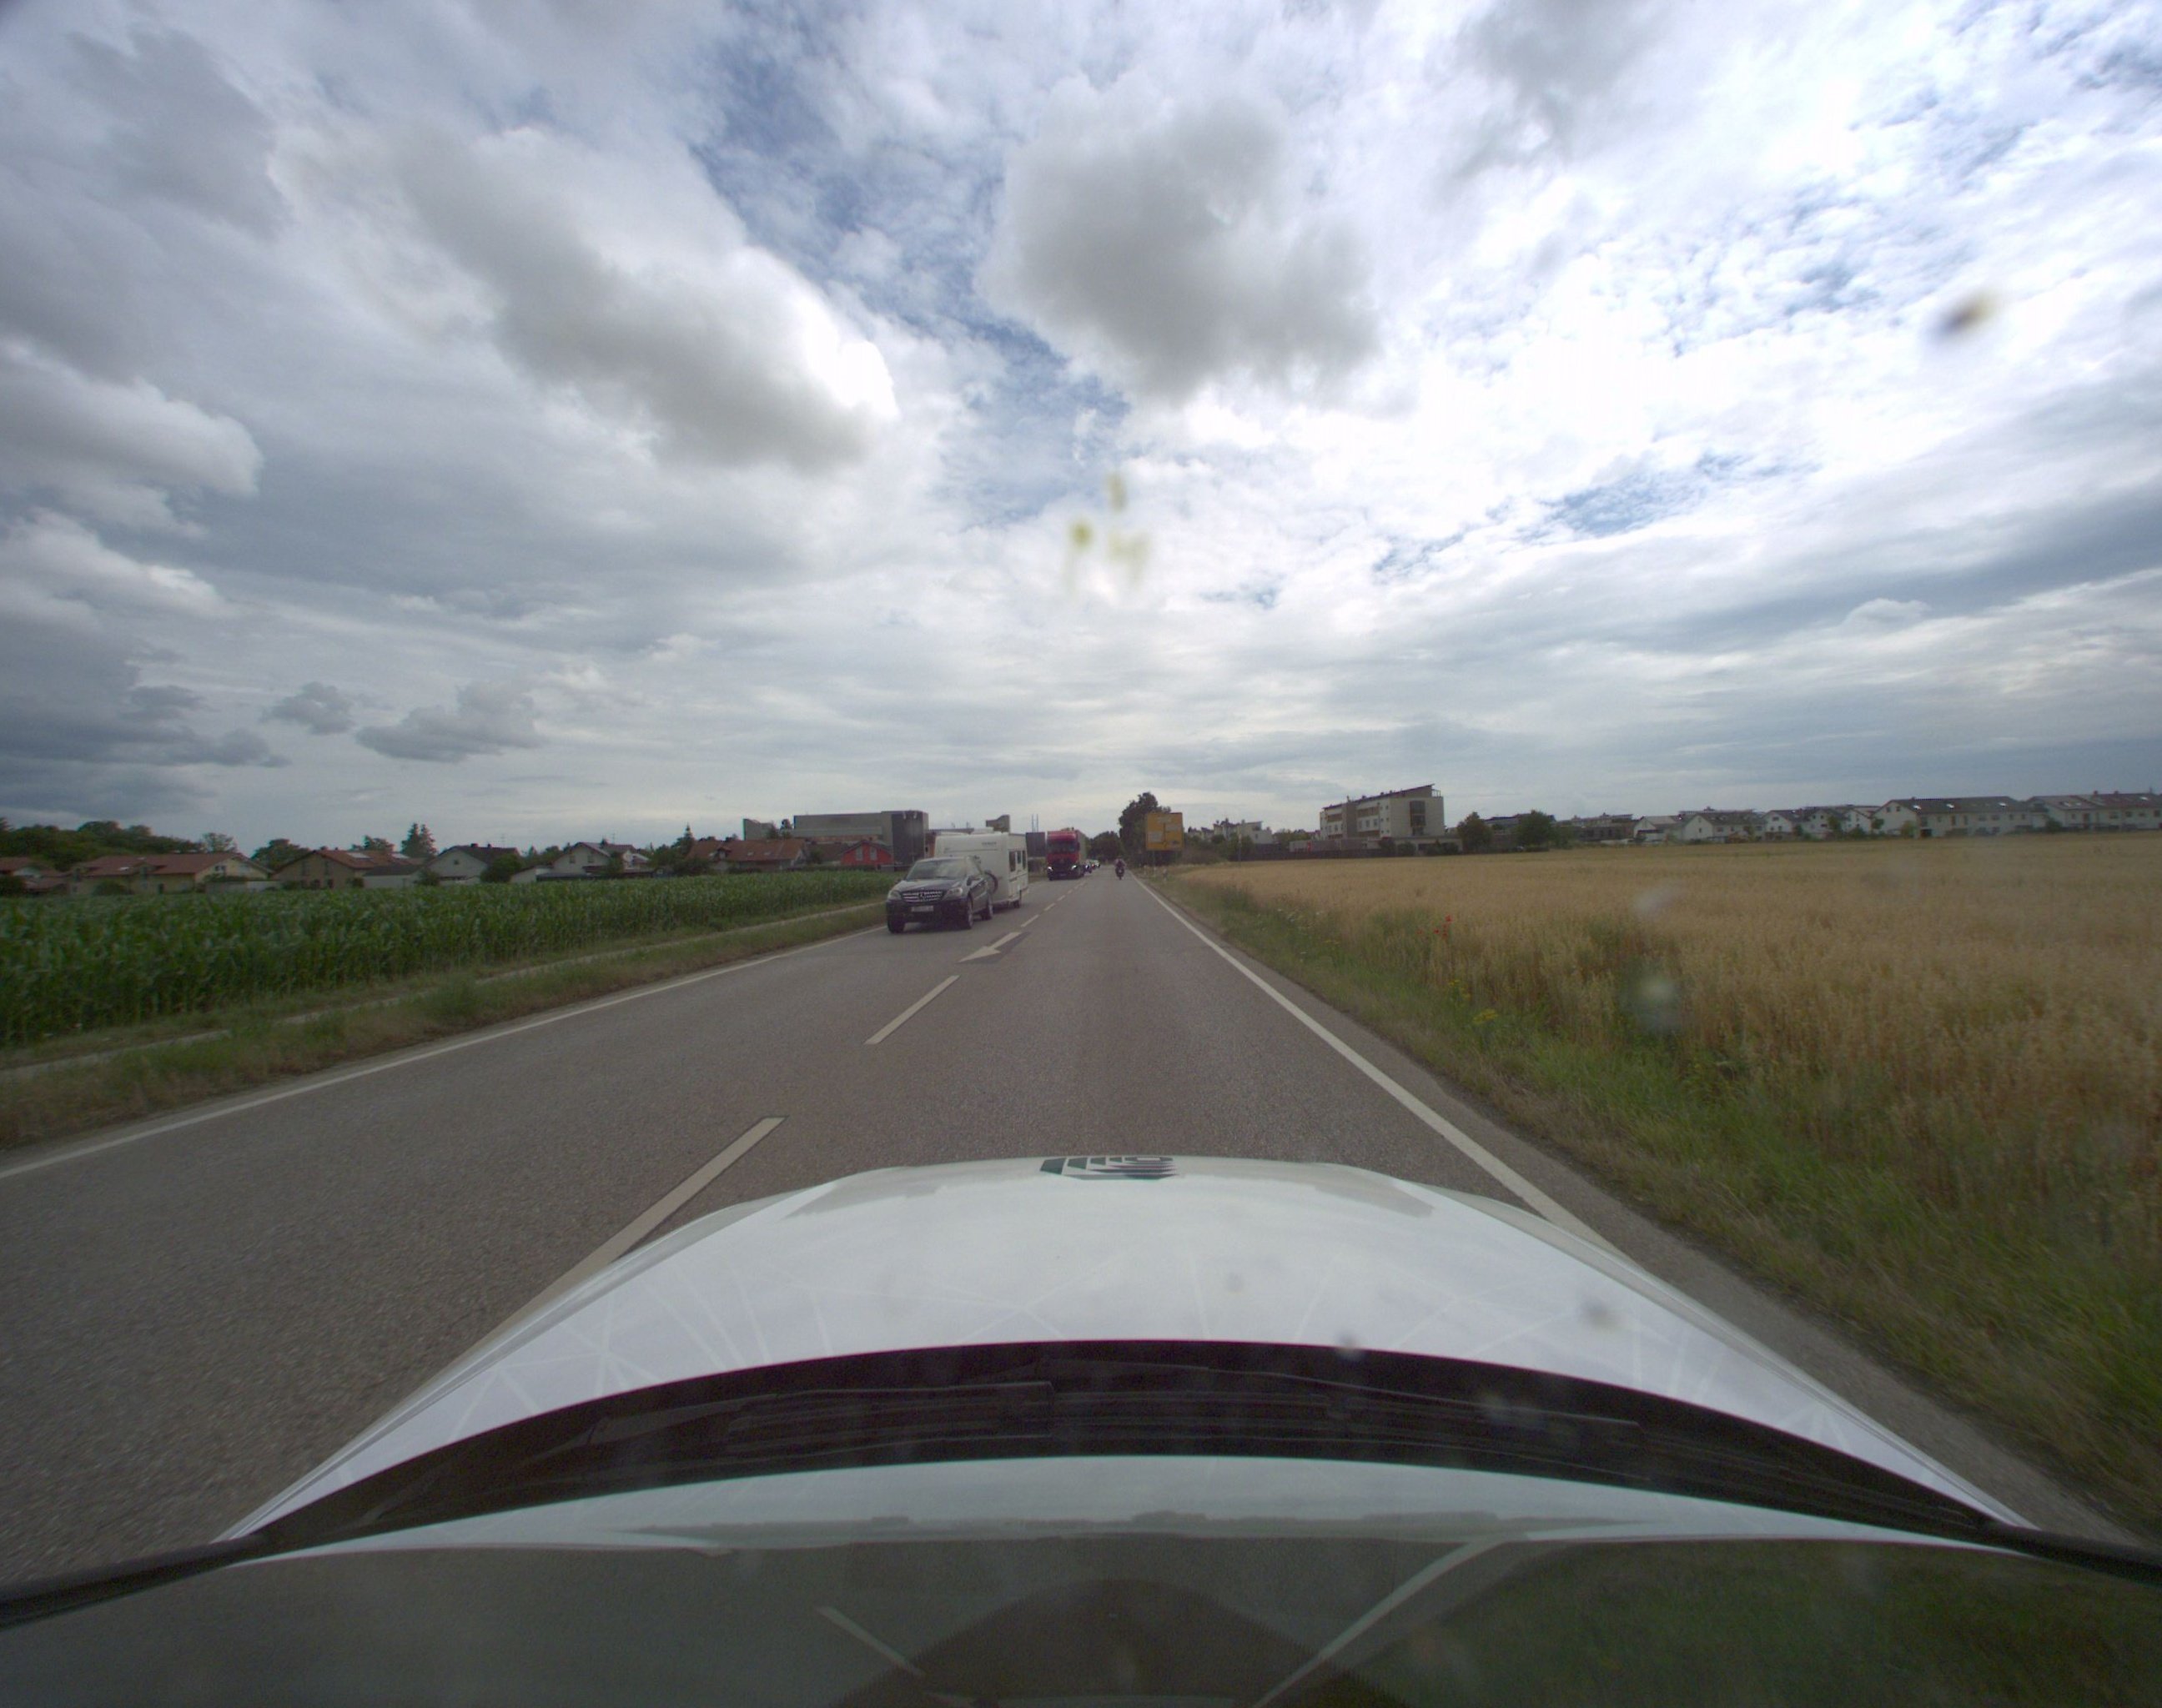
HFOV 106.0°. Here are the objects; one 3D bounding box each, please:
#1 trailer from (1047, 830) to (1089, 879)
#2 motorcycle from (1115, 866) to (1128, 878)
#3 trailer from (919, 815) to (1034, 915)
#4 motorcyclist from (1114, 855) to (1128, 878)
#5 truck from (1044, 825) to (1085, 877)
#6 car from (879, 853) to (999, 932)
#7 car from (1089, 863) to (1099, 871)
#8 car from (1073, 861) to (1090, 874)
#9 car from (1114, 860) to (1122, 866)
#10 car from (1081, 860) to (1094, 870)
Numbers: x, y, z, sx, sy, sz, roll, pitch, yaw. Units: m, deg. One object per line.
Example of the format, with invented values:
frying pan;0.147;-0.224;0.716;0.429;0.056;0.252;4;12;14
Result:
trailer;-0.979;0.104;73.873;2.718;3.946;13.790;-2;-1;3
motorcycle;3.051;1.370;61.893;0.937;0.890;2.147;-2;-1;2
trailer;-3.159;0.336;26.766;2.315;2.729;7.848;-2;-1;3
motorcyclist;3.038;0.936;61.953;0.937;1.750;1.201;-2;-1;2
truck;-1.301;-0.193;67.711;2.718;3.987;6.820;-2;-1;3
car;-3.393;0.882;20.459;1.986;1.699;4.678;-2;-1;2
car;2.330;2.319;147.662;1.849;1.472;4.000;-2;-1;1
car;0.076;1.630;96.166;1.849;1.472;4.000;-2;-1;1
car;9.053;2.127;199.339;1.848;1.472;4.002;-2;-1;2
car;1.020;1.769;125.938;1.849;1.472;4.000;-2;-1;1
